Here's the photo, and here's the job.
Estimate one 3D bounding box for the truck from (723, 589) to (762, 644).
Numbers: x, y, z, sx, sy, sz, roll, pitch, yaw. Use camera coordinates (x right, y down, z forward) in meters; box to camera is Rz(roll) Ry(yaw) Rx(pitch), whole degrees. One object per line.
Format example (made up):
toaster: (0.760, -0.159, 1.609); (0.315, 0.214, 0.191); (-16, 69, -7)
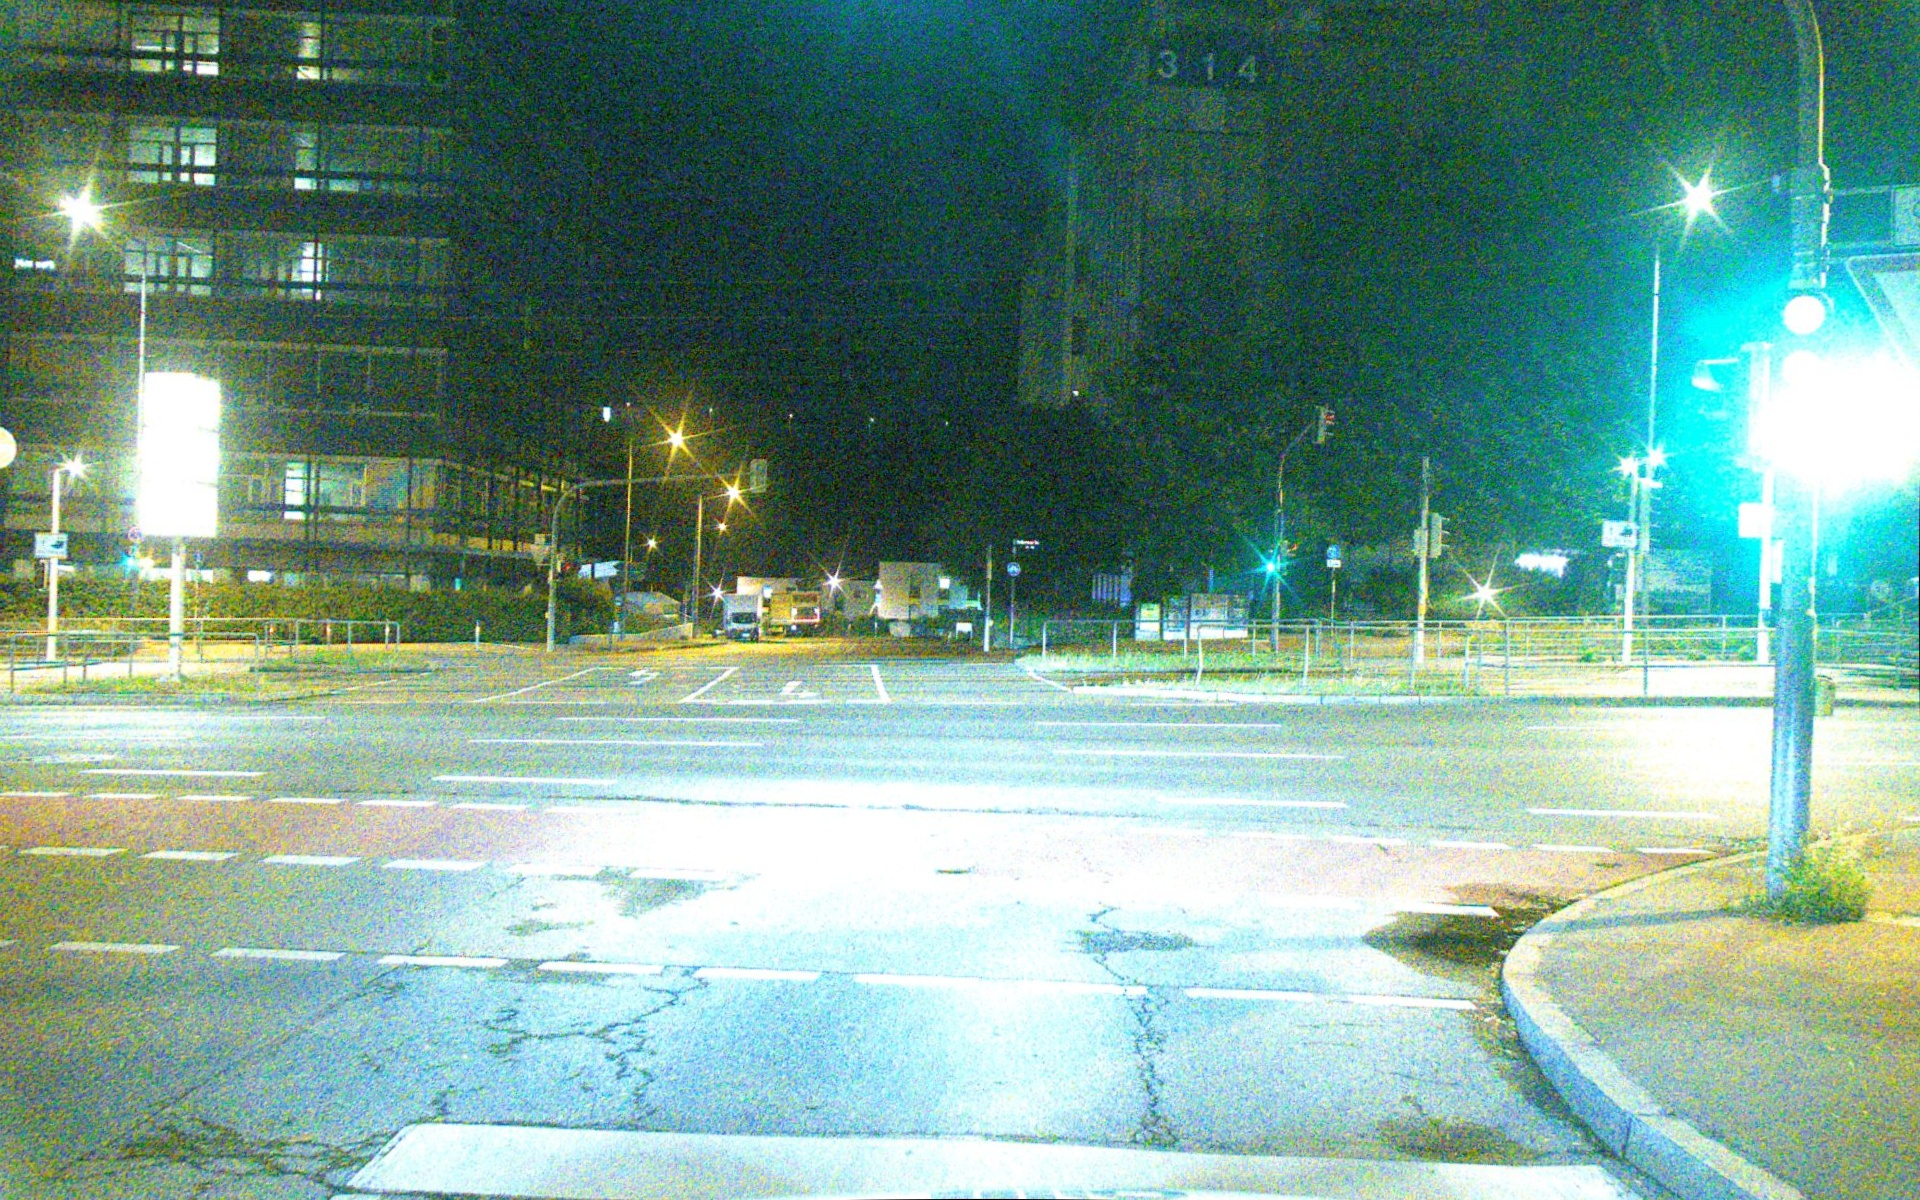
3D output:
truck: (-15.631, 1.162, 118.815); (2.535, 3.772, 5.724); (1, 0, -10)

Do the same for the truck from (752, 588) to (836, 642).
truck: (-15.257, 1.336, 150.669); (4.751, 4.627, 12.593); (1, 0, -19)
